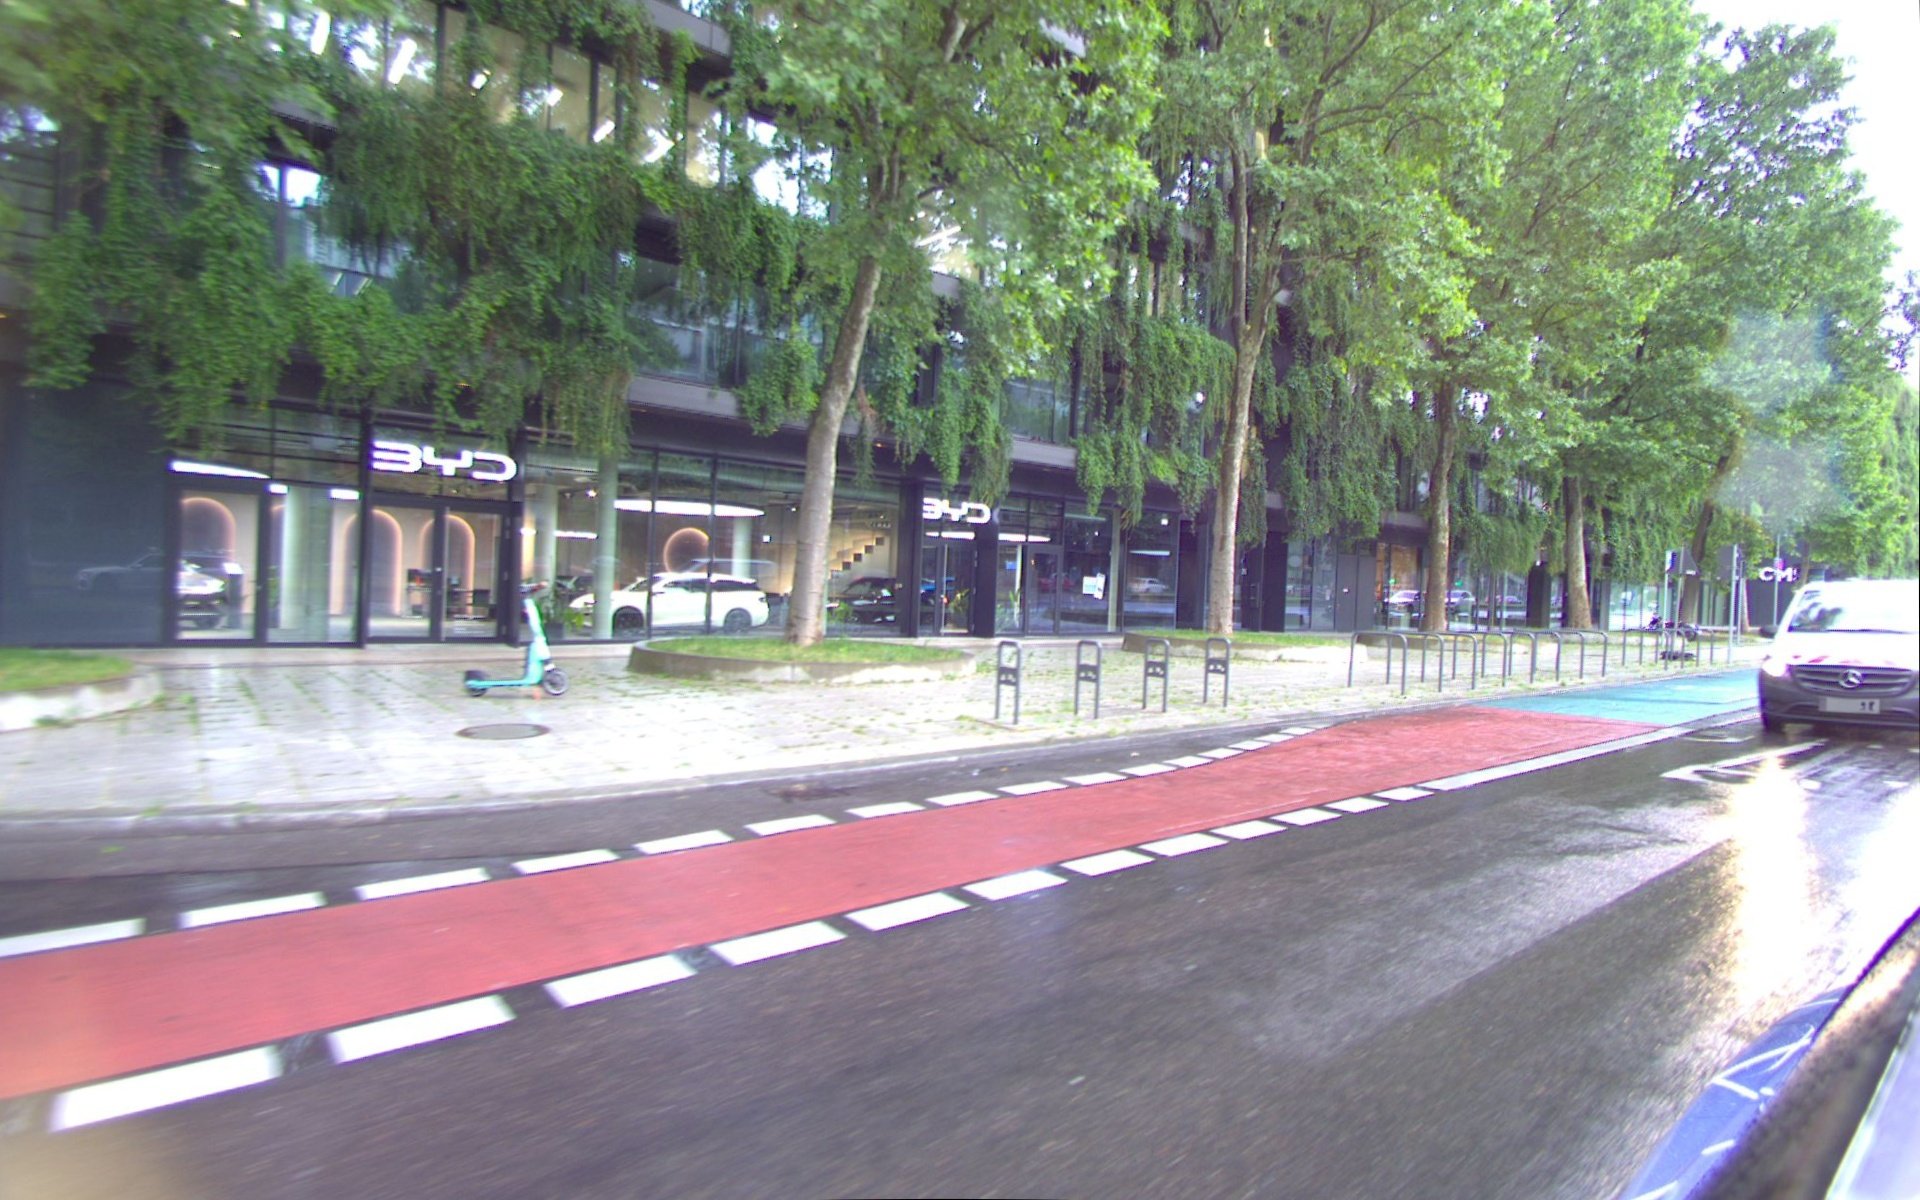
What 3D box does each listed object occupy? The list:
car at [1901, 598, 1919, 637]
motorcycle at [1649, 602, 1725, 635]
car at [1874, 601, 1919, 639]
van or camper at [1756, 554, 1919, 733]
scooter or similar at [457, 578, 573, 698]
[{"bbox_3d":[48.921,0.921,50.659,5.000,1.861,1.849,1,2,-38],"label":"car"},{"bbox_3d":[29.488,0.753,41.072,1.034,1.286,2.312,1,-1,-40],"label":"motorcycle"},{"bbox_3d":[44.077,0.914,46.924,4.701,1.653,1.847,1,0,-40],"label":"car"},{"bbox_3d":[12.051,0.496,12.936,5.158,1.937,1.997,1,0,-41],"label":"van or camper"},{"bbox_3d":[-4.781,0.400,10.902,1.058,1.243,0.382,1,0,-3],"label":"scooter or similar"}]
